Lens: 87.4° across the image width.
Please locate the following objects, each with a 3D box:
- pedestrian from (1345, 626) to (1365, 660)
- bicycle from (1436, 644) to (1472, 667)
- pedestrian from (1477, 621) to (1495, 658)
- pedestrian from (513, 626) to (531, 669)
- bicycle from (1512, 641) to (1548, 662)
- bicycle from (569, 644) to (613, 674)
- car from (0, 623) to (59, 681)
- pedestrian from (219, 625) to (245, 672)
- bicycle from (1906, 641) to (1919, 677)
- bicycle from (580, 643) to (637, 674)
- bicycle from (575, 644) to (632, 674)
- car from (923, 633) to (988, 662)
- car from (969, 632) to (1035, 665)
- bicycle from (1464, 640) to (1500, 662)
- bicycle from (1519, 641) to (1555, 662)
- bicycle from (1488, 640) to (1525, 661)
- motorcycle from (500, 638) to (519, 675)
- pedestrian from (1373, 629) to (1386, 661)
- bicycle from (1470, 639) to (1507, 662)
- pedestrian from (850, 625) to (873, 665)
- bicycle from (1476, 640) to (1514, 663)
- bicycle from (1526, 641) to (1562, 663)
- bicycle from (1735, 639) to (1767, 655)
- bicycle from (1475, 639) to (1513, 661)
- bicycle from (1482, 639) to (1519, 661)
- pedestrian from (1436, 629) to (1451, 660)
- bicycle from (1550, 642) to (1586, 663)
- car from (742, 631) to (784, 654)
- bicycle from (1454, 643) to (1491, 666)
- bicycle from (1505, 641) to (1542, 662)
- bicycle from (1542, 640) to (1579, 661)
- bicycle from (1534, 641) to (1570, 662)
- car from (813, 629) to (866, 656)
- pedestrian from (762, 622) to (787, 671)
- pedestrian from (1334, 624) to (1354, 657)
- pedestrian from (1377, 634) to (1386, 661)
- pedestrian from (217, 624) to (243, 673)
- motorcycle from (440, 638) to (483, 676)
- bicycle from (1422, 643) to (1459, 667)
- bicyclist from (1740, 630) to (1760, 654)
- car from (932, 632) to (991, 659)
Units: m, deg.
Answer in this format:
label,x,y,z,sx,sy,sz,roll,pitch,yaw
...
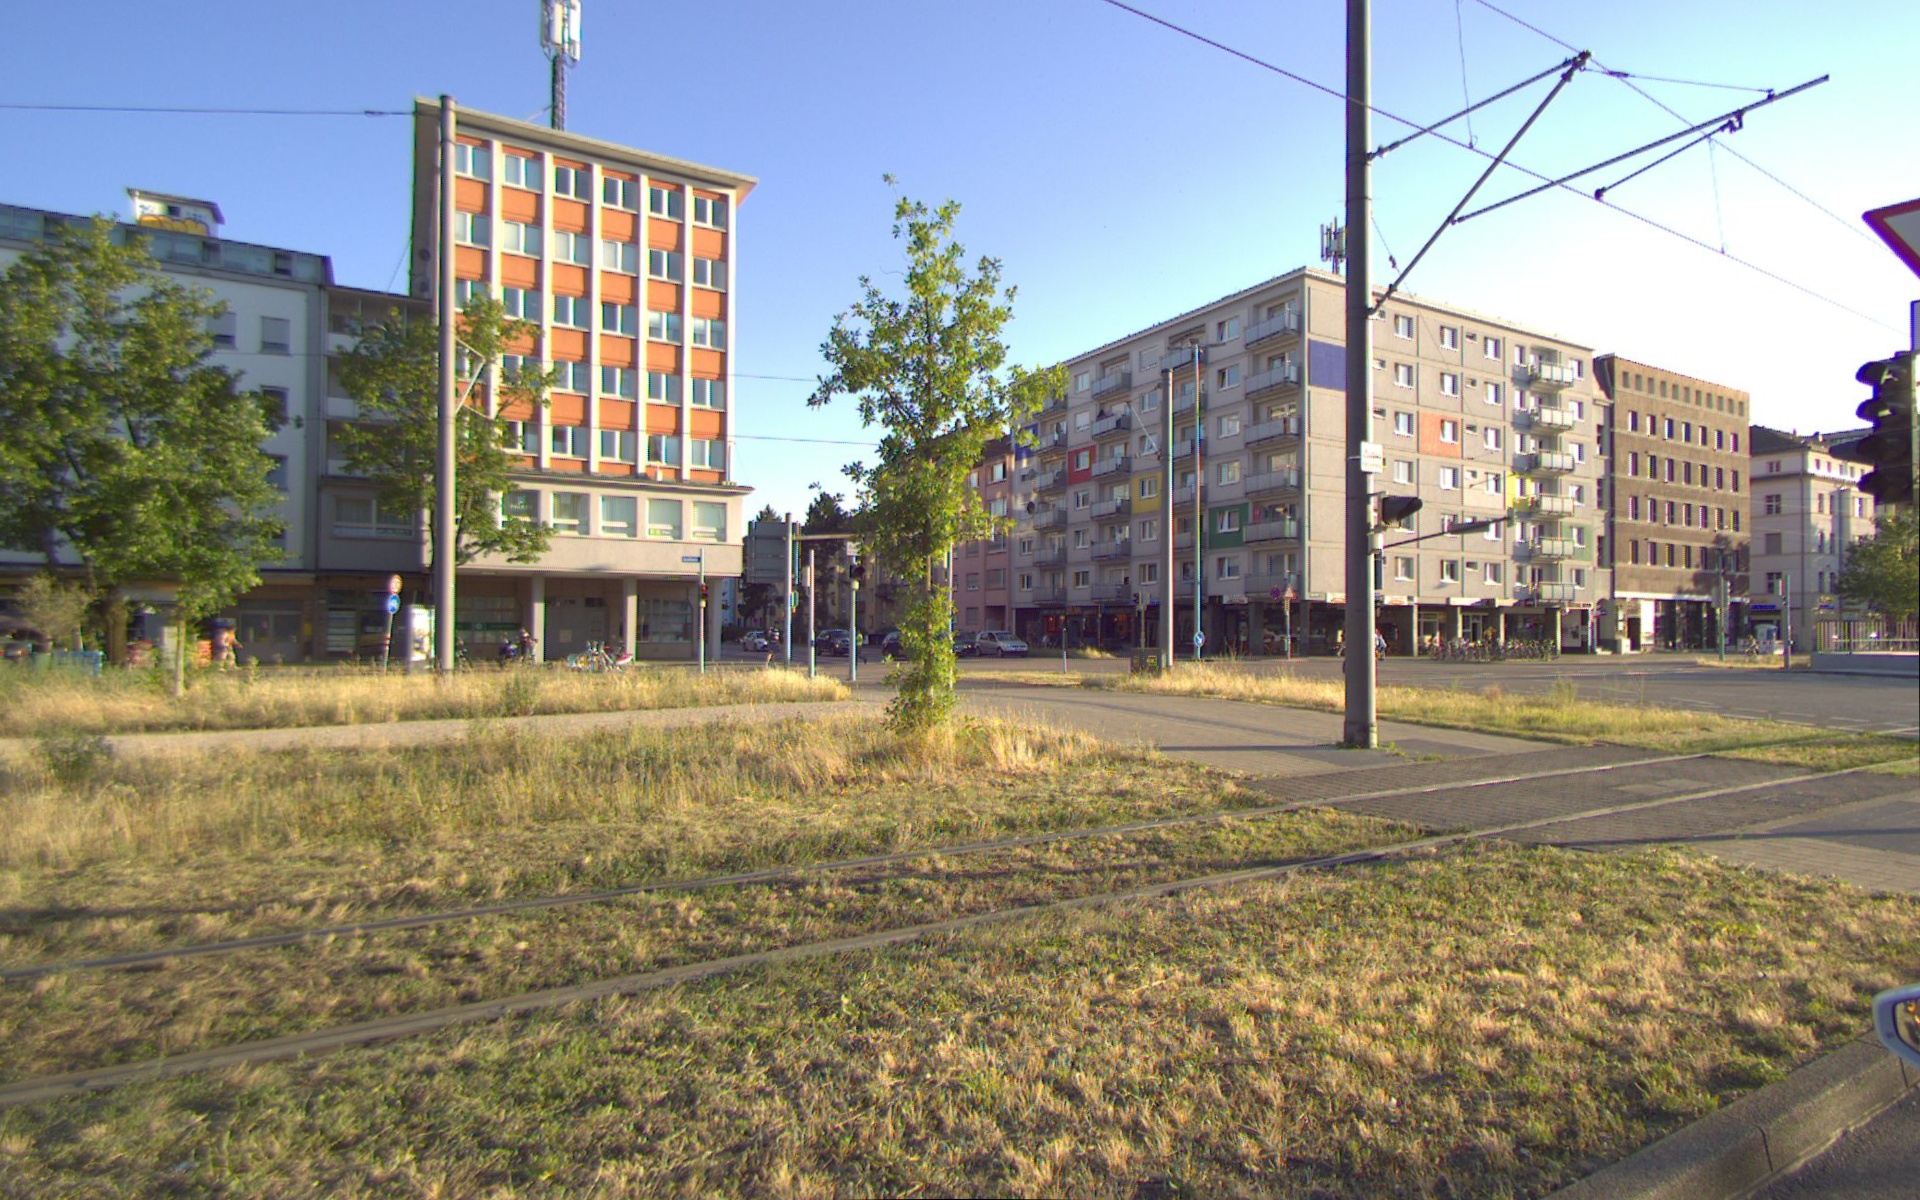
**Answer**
label,x,y,z,sx,sy,sz,roll,pitch,yaw
pedestrian,21.811,2.388,55.435,0.728,1.866,0.780,1,-2,-38
bicycle,26.750,3.007,54.422,0.601,1.157,1.768,1,-2,-29
pedestrian,31.559,2.384,60.274,0.783,2.207,0.599,1,-1,-30
pedestrian,-18.742,2.028,42.993,0.623,1.792,0.593,1,-1,-30
bicycle,32.042,2.875,56.516,0.561,1.134,1.753,1,-2,-29
bicycle,-14.130,2.255,38.475,1.543,1.089,0.392,1,-1,-31
car,-30.095,1.537,30.231,3.927,1.706,1.997,1,-1,-9
pedestrian,-27.659,1.841,38.178,0.690,1.774,0.646,1,-1,-30
bicycle,29.565,1.779,29.974,0.628,1.089,1.883,1,-2,-43
bicycle,-12.602,2.079,36.048,1.885,1.089,0.465,1,-1,-31
bicycle,-13.314,2.194,37.553,1.972,1.089,0.465,1,-1,-31
car,-0.290,2.567,54.867,1.974,1.505,3.974,2,-3,-26
car,2.267,2.652,55.614,1.974,1.506,3.973,2,1,-26
bicycle,28.196,2.742,54.273,0.534,1.183,1.758,1,-1,-29
bicycle,32.600,2.893,56.801,0.626,1.139,1.720,2,-2,-28
bicycle,30.743,2.845,56.520,0.598,1.151,1.763,1,-2,-29
motorcycle,-17.025,2.123,37.915,0.538,1.335,1.823,1,-1,-27
pedestrian,21.490,2.301,51.420,0.563,1.641,0.602,0,-1,29
bicycle,28.710,2.745,54.568,0.561,1.197,1.761,1,-2,-29
pedestrian,-4.655,2.115,47.459,0.879,1.855,0.885,1,-1,-20
bicycle,29.256,2.780,54.903,0.644,1.206,1.780,1,-2,-30
bicycle,33.206,2.946,57.117,0.696,1.168,1.684,1,-1,-28
bicycle,47.909,2.831,60.838,1.636,0.957,0.509,0,-1,-4
bicycle,29.646,2.776,55.808,0.632,1.176,1.823,1,-2,-29
bicycle,30.214,2.782,56.157,0.598,1.174,1.768,1,-2,-29
pedestrian,26.807,2.445,55.673,0.540,1.706,0.576,1,-1,-31
bicycle,35.180,3.011,58.163,0.688,1.159,1.684,1,-1,-28
car,-14.569,3.128,74.285,1.975,1.551,3.971,1,-2,-28
bicycle,27.623,2.936,54.129,0.592,1.154,1.749,1,-2,-29
bicycle,31.536,2.861,56.235,0.545,1.132,1.747,1,-2,-29
bicycle,34.545,2.911,57.820,0.739,1.185,1.684,1,-1,-28
bicycle,33.860,2.941,57.476,0.739,1.194,1.684,1,-1,-28
car,-7.410,2.599,61.480,1.975,1.551,3.971,1,-1,-28
pedestrian,-7.569,1.876,41.094,0.708,1.972,0.720,-1,-2,43
pedestrian,21.561,2.278,56.399,0.715,1.837,0.820,2,-1,-40
pedestrian,21.859,2.471,52.059,0.376,1.401,0.394,0,-1,32
pedestrian,-27.333,1.795,37.628,0.696,1.816,0.590,1,-1,-30
motorcycle,-17.788,2.025,35.853,1.373,1.335,0.378,1,-1,-28
bicycle,25.805,2.947,53.949,0.631,1.224,1.786,1,-2,-30
bicyclist,47.828,2.554,60.835,0.841,1.445,0.501,0,-1,-4
car,0.070,2.675,59.778,1.974,1.505,3.974,1,-2,-26
